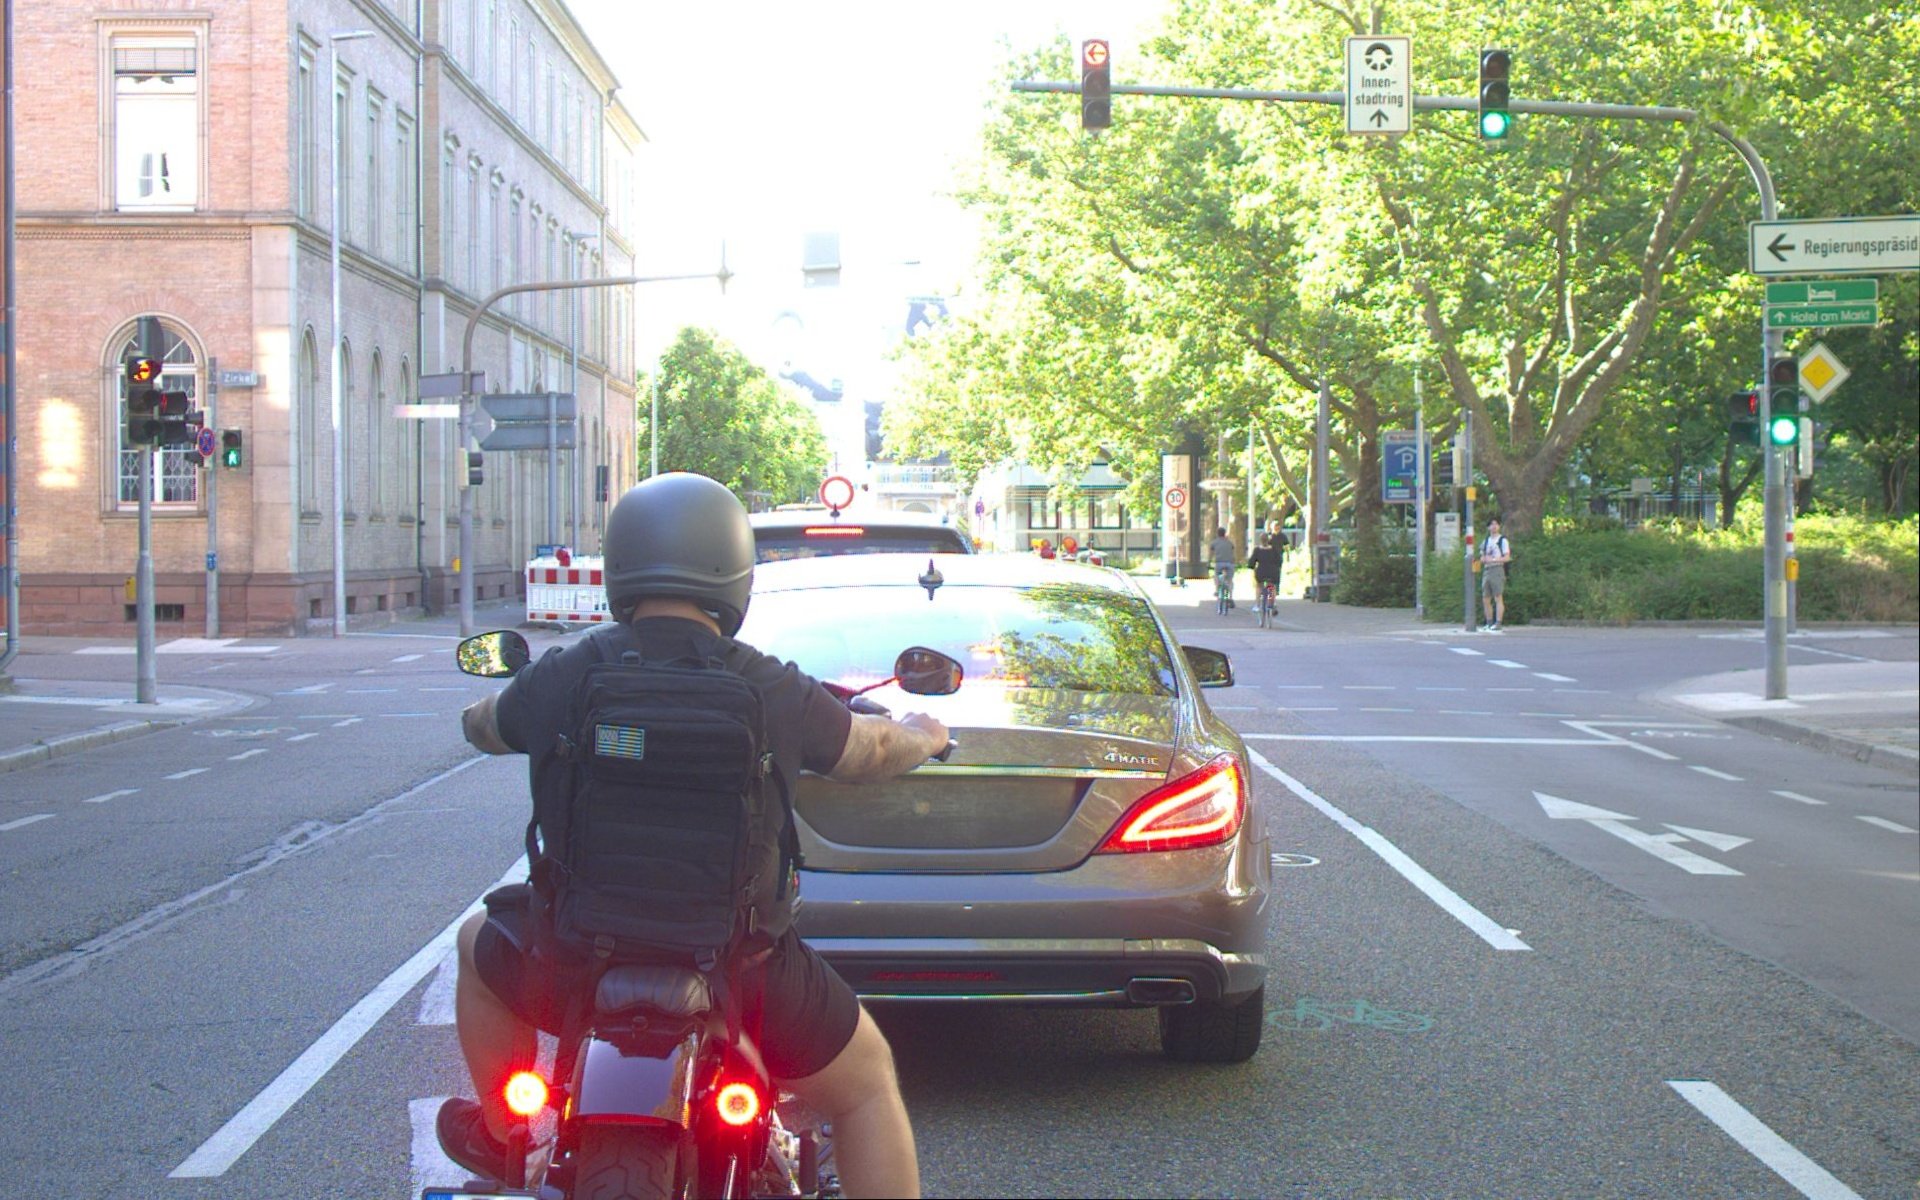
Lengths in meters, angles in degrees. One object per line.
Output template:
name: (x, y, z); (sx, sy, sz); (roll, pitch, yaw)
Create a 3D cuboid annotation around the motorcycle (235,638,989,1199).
motorcycle: (-0.485, 0.762, 5.972); (1.012, 1.302, 2.673); (0, 1, -1)

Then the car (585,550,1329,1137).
car: (-0.034, 0.576, 10.405); (1.828, 1.415, 3.815); (0, 1, -1)

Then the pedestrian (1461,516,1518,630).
pedestrian: (8.305, -0.431, 53.941); (0.570, 1.768, 0.625); (1, 1, -35)

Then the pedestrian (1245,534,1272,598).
pedestrian: (7.455, -0.848, 85.910); (0.592, 1.573, 0.527); (1, 1, 0)

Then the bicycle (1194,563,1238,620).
bicycle: (5.141, -0.171, 69.168); (0.656, 1.107, 2.186); (1, 1, -1)

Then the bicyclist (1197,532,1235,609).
bicyclist: (5.149, -0.598, 69.139); (0.656, 1.525, 0.906); (1, 1, -1)

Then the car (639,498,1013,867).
car: (-0.786, 0.349, 17.568); (1.630, 1.645, 3.851); (1, 1, -6)

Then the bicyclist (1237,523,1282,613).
bicyclist: (5.170, -0.552, 59.442); (0.656, 1.525, 0.852); (1, 1, -1)

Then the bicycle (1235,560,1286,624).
bicycle: (5.179, -0.154, 59.348); (0.656, 1.066, 1.927); (1, 1, -1)

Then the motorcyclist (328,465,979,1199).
motorcyclist: (-0.487, 0.573, 6.088); (1.012, 1.596, 1.406); (0, 1, -1)
